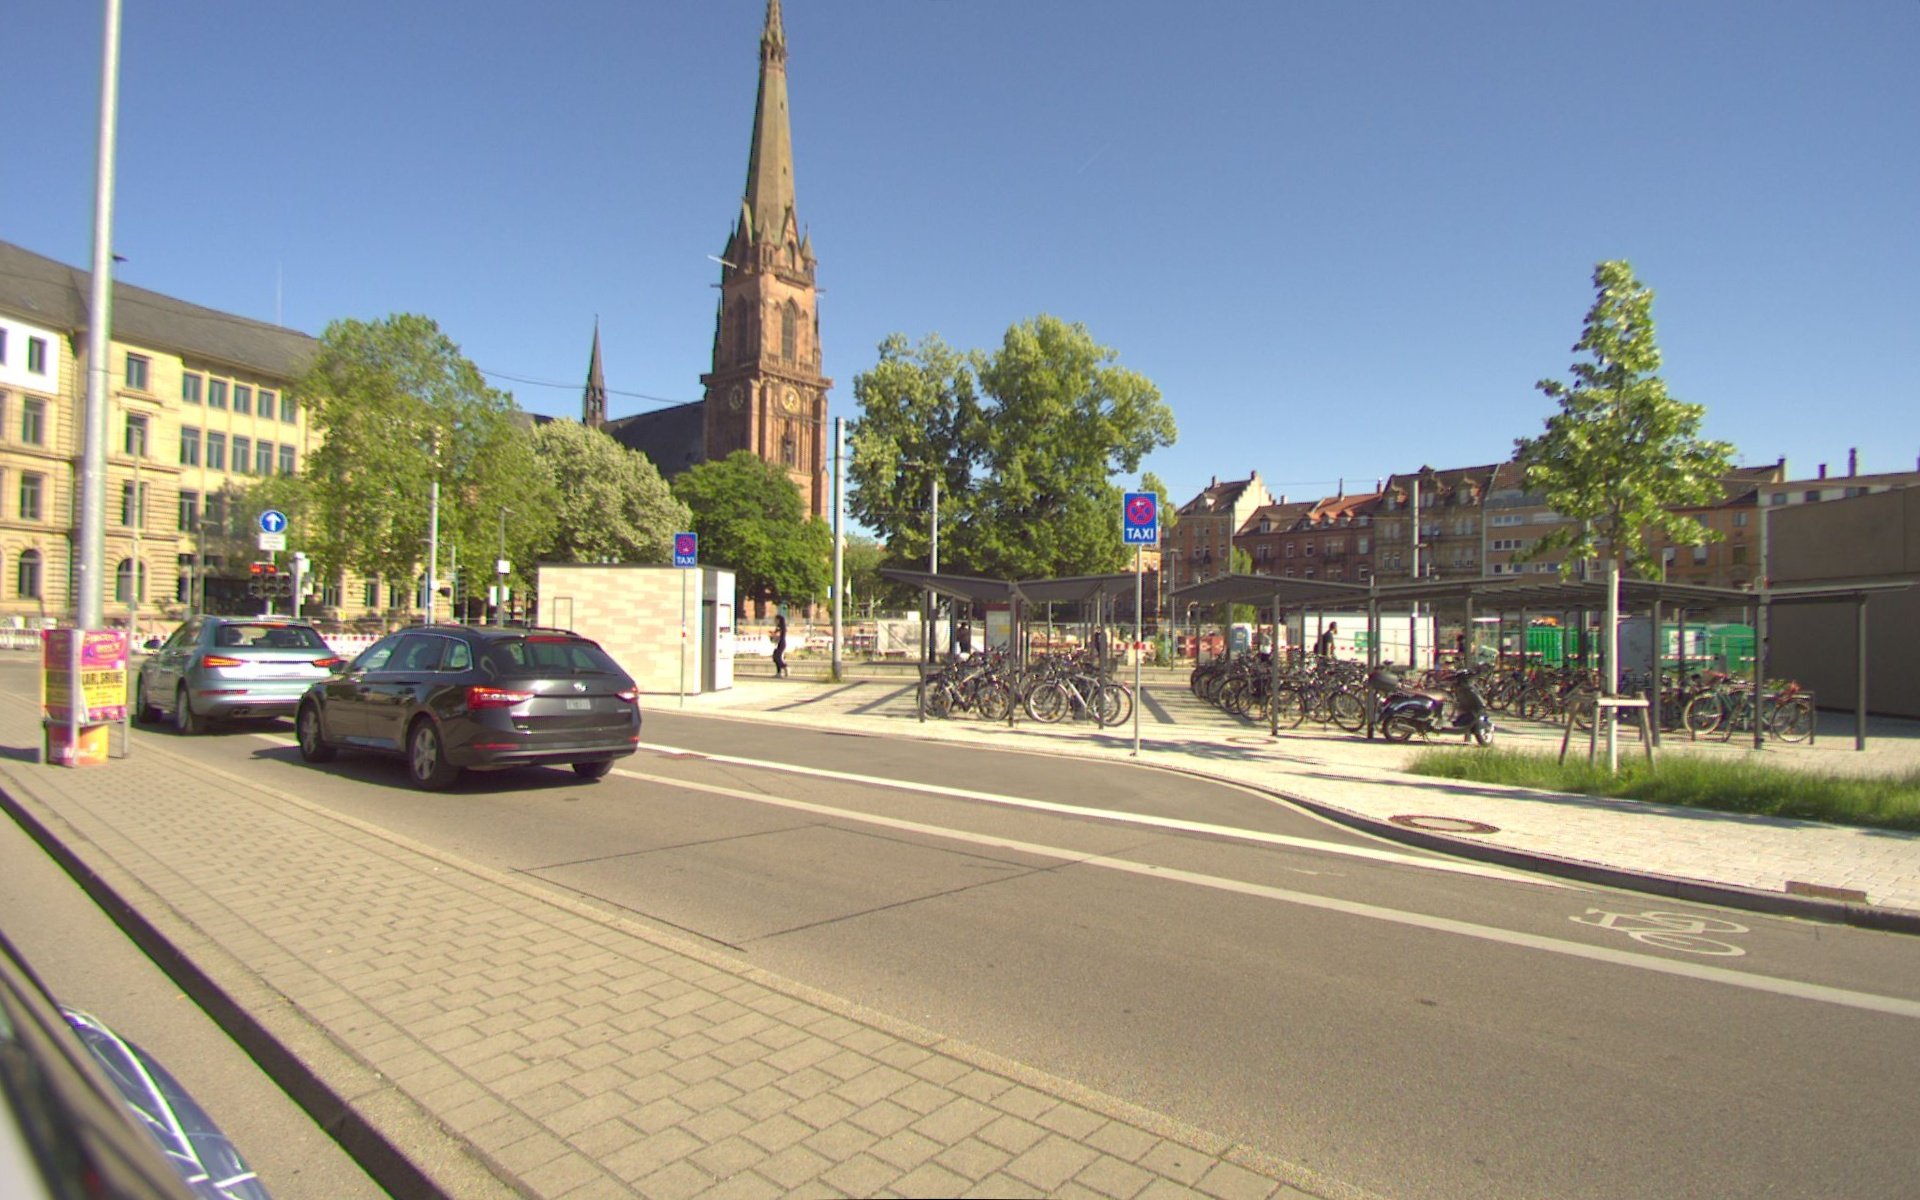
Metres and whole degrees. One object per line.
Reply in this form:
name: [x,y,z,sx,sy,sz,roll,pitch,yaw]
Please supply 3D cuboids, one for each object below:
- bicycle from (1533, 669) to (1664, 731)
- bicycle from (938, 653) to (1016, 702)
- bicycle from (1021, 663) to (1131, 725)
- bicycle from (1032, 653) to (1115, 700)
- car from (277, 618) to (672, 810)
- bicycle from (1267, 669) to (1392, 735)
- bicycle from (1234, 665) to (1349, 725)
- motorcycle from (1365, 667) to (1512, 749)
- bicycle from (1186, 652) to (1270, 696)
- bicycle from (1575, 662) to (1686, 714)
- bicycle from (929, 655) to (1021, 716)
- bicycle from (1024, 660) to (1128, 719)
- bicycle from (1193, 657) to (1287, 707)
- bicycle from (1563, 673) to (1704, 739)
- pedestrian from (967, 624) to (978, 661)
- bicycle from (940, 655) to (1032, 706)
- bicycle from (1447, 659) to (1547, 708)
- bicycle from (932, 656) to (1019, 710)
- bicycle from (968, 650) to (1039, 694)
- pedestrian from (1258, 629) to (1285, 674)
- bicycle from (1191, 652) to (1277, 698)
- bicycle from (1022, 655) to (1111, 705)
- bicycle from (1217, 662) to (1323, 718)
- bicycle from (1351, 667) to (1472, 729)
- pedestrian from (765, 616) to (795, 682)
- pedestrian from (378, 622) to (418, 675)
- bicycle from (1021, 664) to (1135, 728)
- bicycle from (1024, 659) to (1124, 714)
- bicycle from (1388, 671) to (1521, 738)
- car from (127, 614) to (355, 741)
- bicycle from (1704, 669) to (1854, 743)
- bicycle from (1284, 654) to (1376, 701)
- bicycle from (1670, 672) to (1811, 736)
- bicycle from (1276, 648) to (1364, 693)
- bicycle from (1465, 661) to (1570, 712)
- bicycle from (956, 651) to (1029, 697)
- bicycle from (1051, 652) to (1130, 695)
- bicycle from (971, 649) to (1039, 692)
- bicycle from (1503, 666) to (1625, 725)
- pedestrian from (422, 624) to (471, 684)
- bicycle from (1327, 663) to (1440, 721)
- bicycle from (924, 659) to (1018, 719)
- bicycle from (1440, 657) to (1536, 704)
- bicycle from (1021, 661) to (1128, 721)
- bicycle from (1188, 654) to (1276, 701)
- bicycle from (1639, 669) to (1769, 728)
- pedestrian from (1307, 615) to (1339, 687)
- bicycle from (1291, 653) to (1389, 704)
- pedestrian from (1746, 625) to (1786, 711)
bicycle: [11.107,1.734,17.640,1.882,1.016,0.456,0,-2,8]
bicycle: [0.378,1.692,22.223,1.652,1.016,0.456,0,-2,8]
bicycle: [2.026,1.625,17.673,1.882,1.016,0.456,0,-2,8]
bicycle: [2.613,1.749,23.302,1.882,1.016,0.456,0,-2,8]
car: [-5.014,0.967,10.151,4.571,1.511,1.771,-1,-3,39]
bicycle: [6.128,1.683,16.838,1.882,1.016,0.456,0,-2,8]
bicycle: [5.906,1.685,18.091,1.882,1.016,0.456,0,-2,8]
motorcycle: [7.168,1.604,15.224,1.924,1.160,0.516,0,-2,6]
bicycle: [6.400,1.764,24.224,1.882,1.016,0.456,0,-2,8]
bicycle: [13.880,1.820,20.969,1.882,1.016,0.456,0,-2,8]
bicycle: [0.287,1.574,18.775,1.652,1.069,0.456,0,-2,8]
bicycle: [2.143,1.647,18.742,1.882,1.016,0.456,0,-2,8]
bicycle: [5.972,1.748,21.608,1.882,1.016,0.456,0,-2,8]
bicycle: [10.979,1.719,16.535,1.882,1.016,0.456,0,-2,8]
pedestrian: [0.592,1.997,47.615,0.399,1.734,0.419,1,-2,-11]
bicycle: [0.550,1.677,21.225,1.882,1.016,0.456,0,-2,8]
bicycle: [11.790,1.826,22.242,1.882,1.016,0.456,0,-2,8]
bicycle: [0.312,1.622,19.887,1.652,1.016,0.456,0,-2,8]
bicycle: [1.049,1.716,24.225,1.652,1.016,0.456,0,-2,8]
pedestrian: [12.370,2.032,40.169,0.792,1.793,0.977,0,-2,3]
bicycle: [6.373,1.733,23.566,1.882,1.016,0.456,0,-2,8]
bicycle: [2.304,1.724,21.919,1.882,1.016,0.456,0,-2,8]
bicycle: [5.904,1.710,19.322,1.882,1.016,0.456,0,-2,8]
bicycle: [7.901,1.710,17.762,1.882,1.016,0.456,0,-2,8]
pedestrian: [-4.971,1.352,27.952,0.750,1.781,0.661,1,-2,-7]
pedestrian: [-19.406,1.675,34.947,0.802,1.793,0.965,-1,-2,40]
bicycle: [1.996,1.604,17.113,1.882,1.016,0.456,0,-2,8]
bicycle: [2.203,1.661,19.583,1.882,1.016,0.456,0,-2,8]
bicycle: [8.035,1.693,16.492,1.882,1.016,0.456,0,-2,8]
car: [-10.416,1.022,14.542,4.241,1.554,1.835,-1,-4,44]
bicycle: [13.088,1.686,16.205,1.882,1.106,0.456,0,-2,8]
bicycle: [8.322,1.737,22.817,1.882,1.016,0.456,0,-2,8]
bicycle: [13.135,1.744,17.064,1.882,1.016,0.456,0,-2,8]
bicycle: [8.493,1.654,23.909,1.882,1.016,0.456,0,-2,8]
bicycle: [11.721,1.816,21.311,1.882,1.016,0.456,0,-2,8]
bicycle: [0.753,1.711,23.480,1.652,1.016,0.456,0,-2,8]
bicycle: [3.169,1.778,24.598,1.882,1.016,0.456,0,-2,8]
bicycle: [1.113,1.731,24.941,1.652,1.016,0.456,0,-2,8]
bicycle: [11.171,1.757,18.756,1.882,1.016,0.456,0,-2,8]
pedestrian: [-15.989,1.661,31.484,1.130,1.793,0.965,-1,-2,40]
bicycle: [7.925,1.713,18.995,1.882,1.016,0.456,0,-2,8]
bicycle: [0.208,1.587,18.190,1.652,1.016,0.456,0,-2,8]
bicycle: [12.085,1.838,23.193,1.882,1.016,0.456,0,-2,8]
bicycle: [2.061,1.634,18.260,1.882,1.016,0.456,0,-2,8]
bicycle: [6.156,1.740,22.942,1.882,1.016,0.456,0,-2,8]
bicycle: [13.476,1.778,18.363,1.882,1.016,0.456,0,-2,8]
pedestrian: [9.520,1.330,26.564,0.676,1.848,0.564,0,-2,8]
bicycle: [8.063,1.662,21.518,1.882,1.016,0.456,0,-2,8]
pedestrian: [19.628,1.638,24.639,0.718,2.029,0.678,-1,-2,41]
